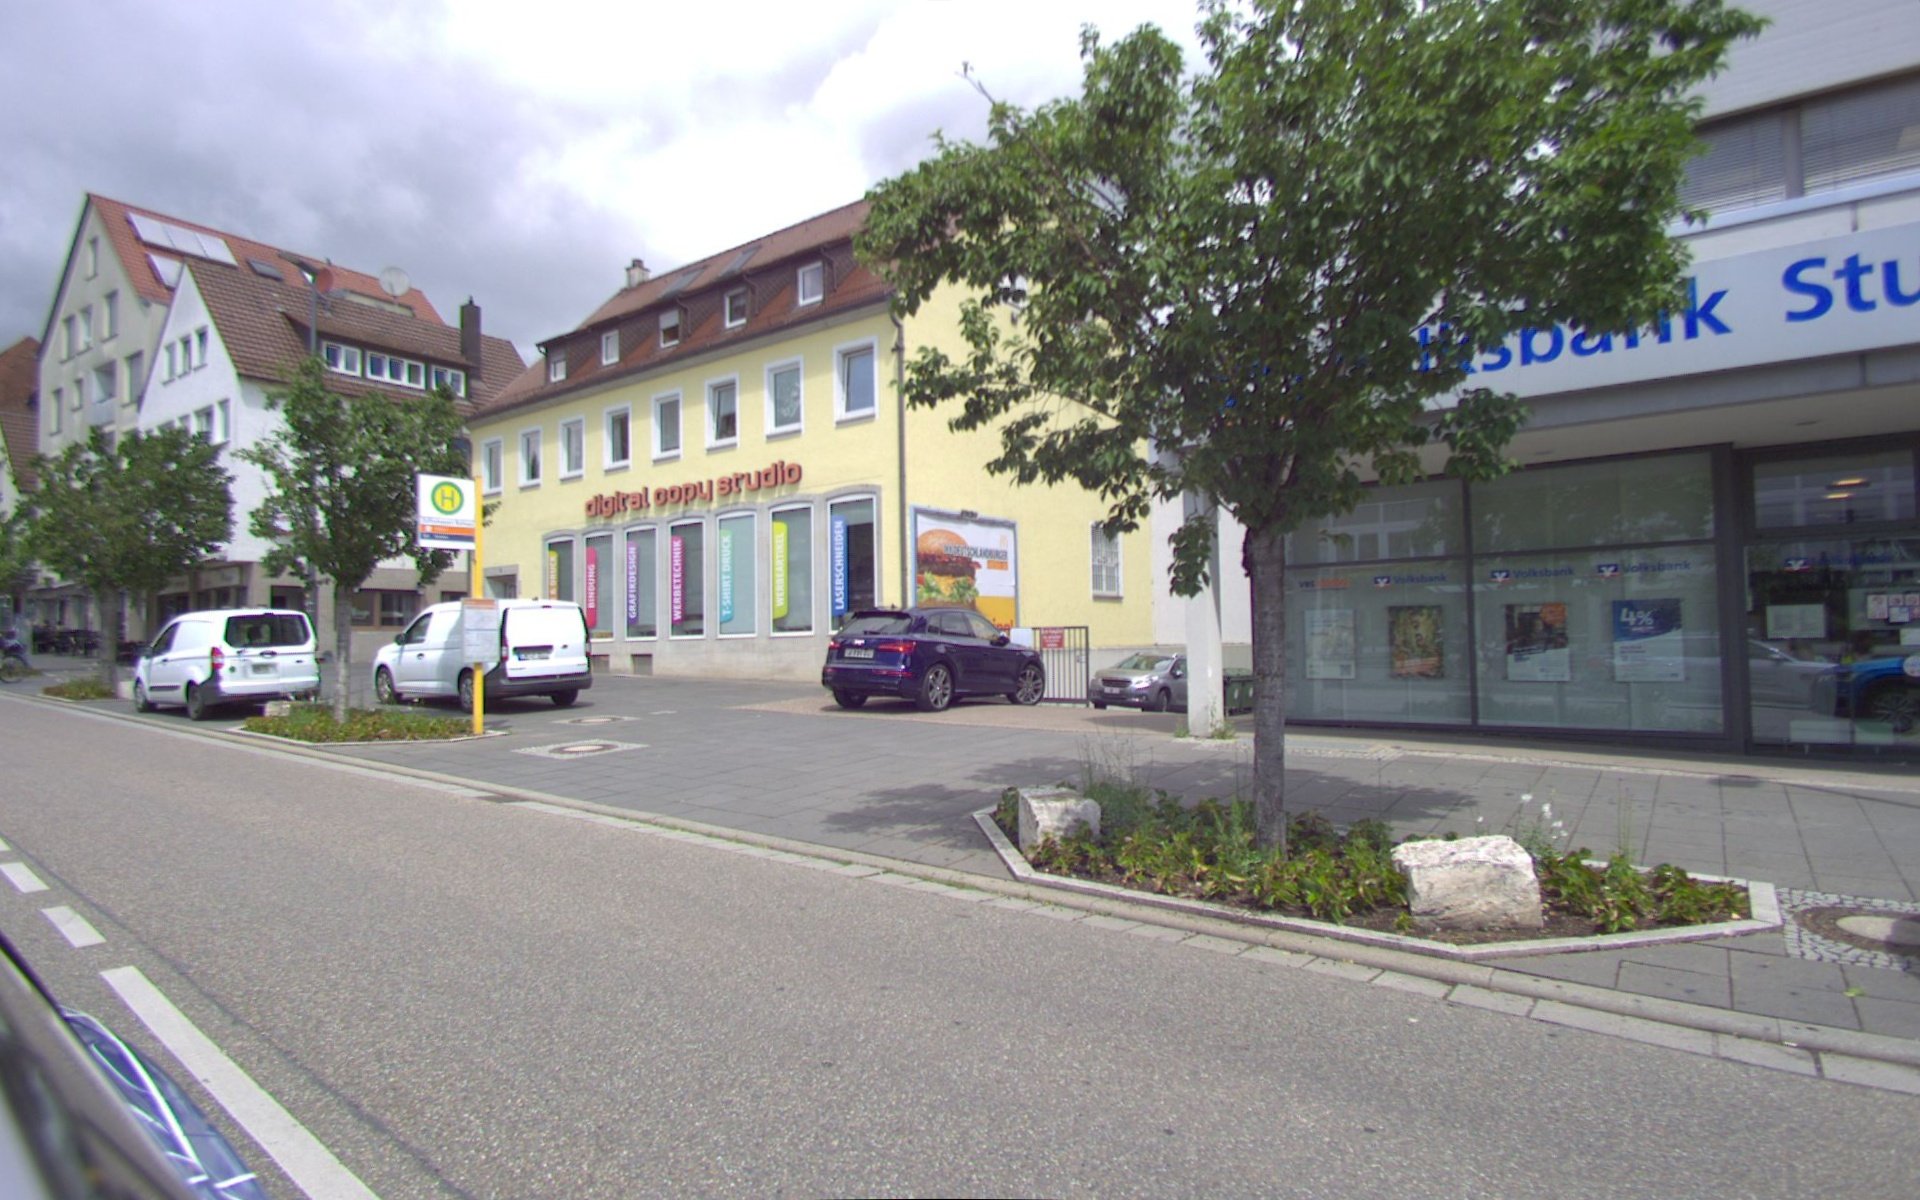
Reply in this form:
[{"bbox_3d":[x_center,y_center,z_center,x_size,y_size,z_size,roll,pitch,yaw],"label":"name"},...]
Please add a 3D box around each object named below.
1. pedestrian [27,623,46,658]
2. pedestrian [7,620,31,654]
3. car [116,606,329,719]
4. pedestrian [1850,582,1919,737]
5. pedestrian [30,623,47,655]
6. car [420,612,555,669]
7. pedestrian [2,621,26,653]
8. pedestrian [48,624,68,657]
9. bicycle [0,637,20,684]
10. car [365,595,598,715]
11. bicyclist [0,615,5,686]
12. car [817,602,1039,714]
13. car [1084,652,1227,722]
[{"bbox_3d":[-35.263,1.547,38.641,0.453,1.309,0.417,-1,-1,34],"label":"pedestrian"},{"bbox_3d":[-36.617,1.434,39.368,0.597,1.277,0.545,0,-1,34],"label":"pedestrian"},{"bbox_3d":[-12.526,0.971,17.104,4.341,1.684,1.642,-1,-1,36],"label":"car"},{"bbox_3d":[10.746,0.684,11.598,0.584,1.718,0.638,-3,-4,29],"label":"pedestrian"},{"bbox_3d":[-36.373,1.532,39.950,0.498,1.259,0.391,-1,-1,34],"label":"pedestrian"},{"bbox_3d":[-14.796,1.237,31.835,1.728,1.663,3.497,-2,-2,35],"label":"car"},{"bbox_3d":[-38.824,1.515,41.527,0.597,1.256,0.590,0,-1,34],"label":"pedestrian"},{"bbox_3d":[-35.020,1.570,39.288,0.565,1.259,0.423,-1,-1,34],"label":"pedestrian"},{"bbox_3d":[-23.657,1.482,24.307,0.409,1.095,1.648,2,0,11],"label":"bicycle"},{"bbox_3d":[-8.332,0.868,17.458,4.468,1.827,1.740,-1,0,37],"label":"car"},{"bbox_3d":[-23.642,1.208,24.344,0.505,1.708,0.774,0,-3,15],"label":"bicyclist"},{"bbox_3d":[-0.415,0.846,16.156,1.666,1.570,3.594,-1,-1,37],"label":"car"},{"bbox_3d":[4.554,1.926,23.224,1.647,1.420,3.949,-1,-3,37],"label":"car"}]
